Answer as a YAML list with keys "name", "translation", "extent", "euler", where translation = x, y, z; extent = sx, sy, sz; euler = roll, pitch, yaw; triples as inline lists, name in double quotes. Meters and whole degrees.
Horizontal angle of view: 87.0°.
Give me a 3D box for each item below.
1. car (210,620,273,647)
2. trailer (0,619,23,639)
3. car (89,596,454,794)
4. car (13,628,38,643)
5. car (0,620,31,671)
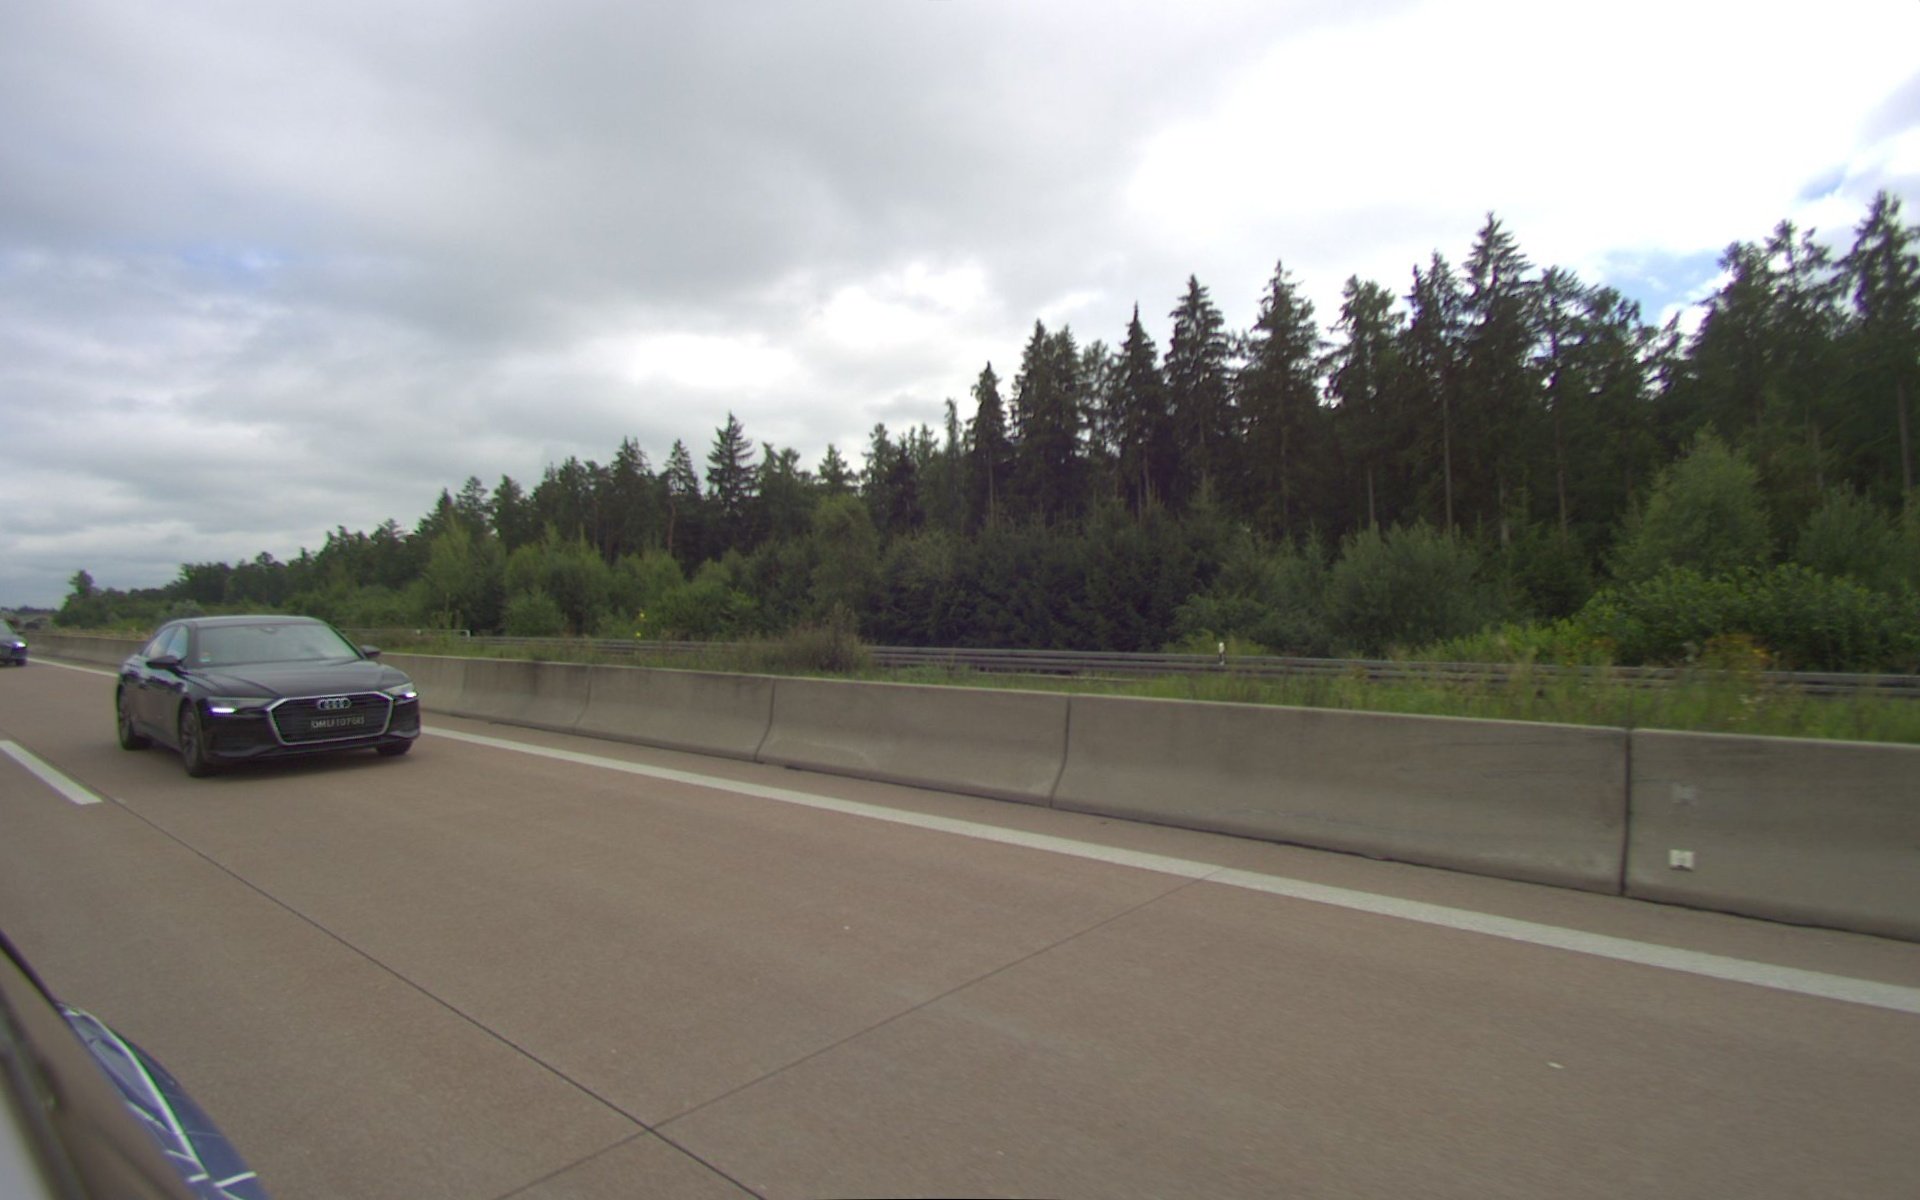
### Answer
- name: "car"
  translation: [-45.105, 2.077, 63.508]
  extent: [5.195, 1.603, 2.102]
  euler: [-1, -2, 41]
- name: "trailer"
  translation: [-171.082, 5.147, 181.883]
  extent: [13.269, 3.445, 2.902]
  euler: [-1, 0, 43]
- name: "car"
  translation: [-7.602, 0.810, 10.860]
  extent: [5.674, 1.562, 2.062]
  euler: [-1, 0, 43]
- name: "car"
  translation: [-139.691, 5.252, 151.300]
  extent: [5.267, 2.028, 2.231]
  euler: [-1, 1, 42]
- name: "car"
  translation: [-30.832, 1.403, 31.674]
  extent: [5.450, 1.503, 2.037]
  euler: [-1, -1, 41]
